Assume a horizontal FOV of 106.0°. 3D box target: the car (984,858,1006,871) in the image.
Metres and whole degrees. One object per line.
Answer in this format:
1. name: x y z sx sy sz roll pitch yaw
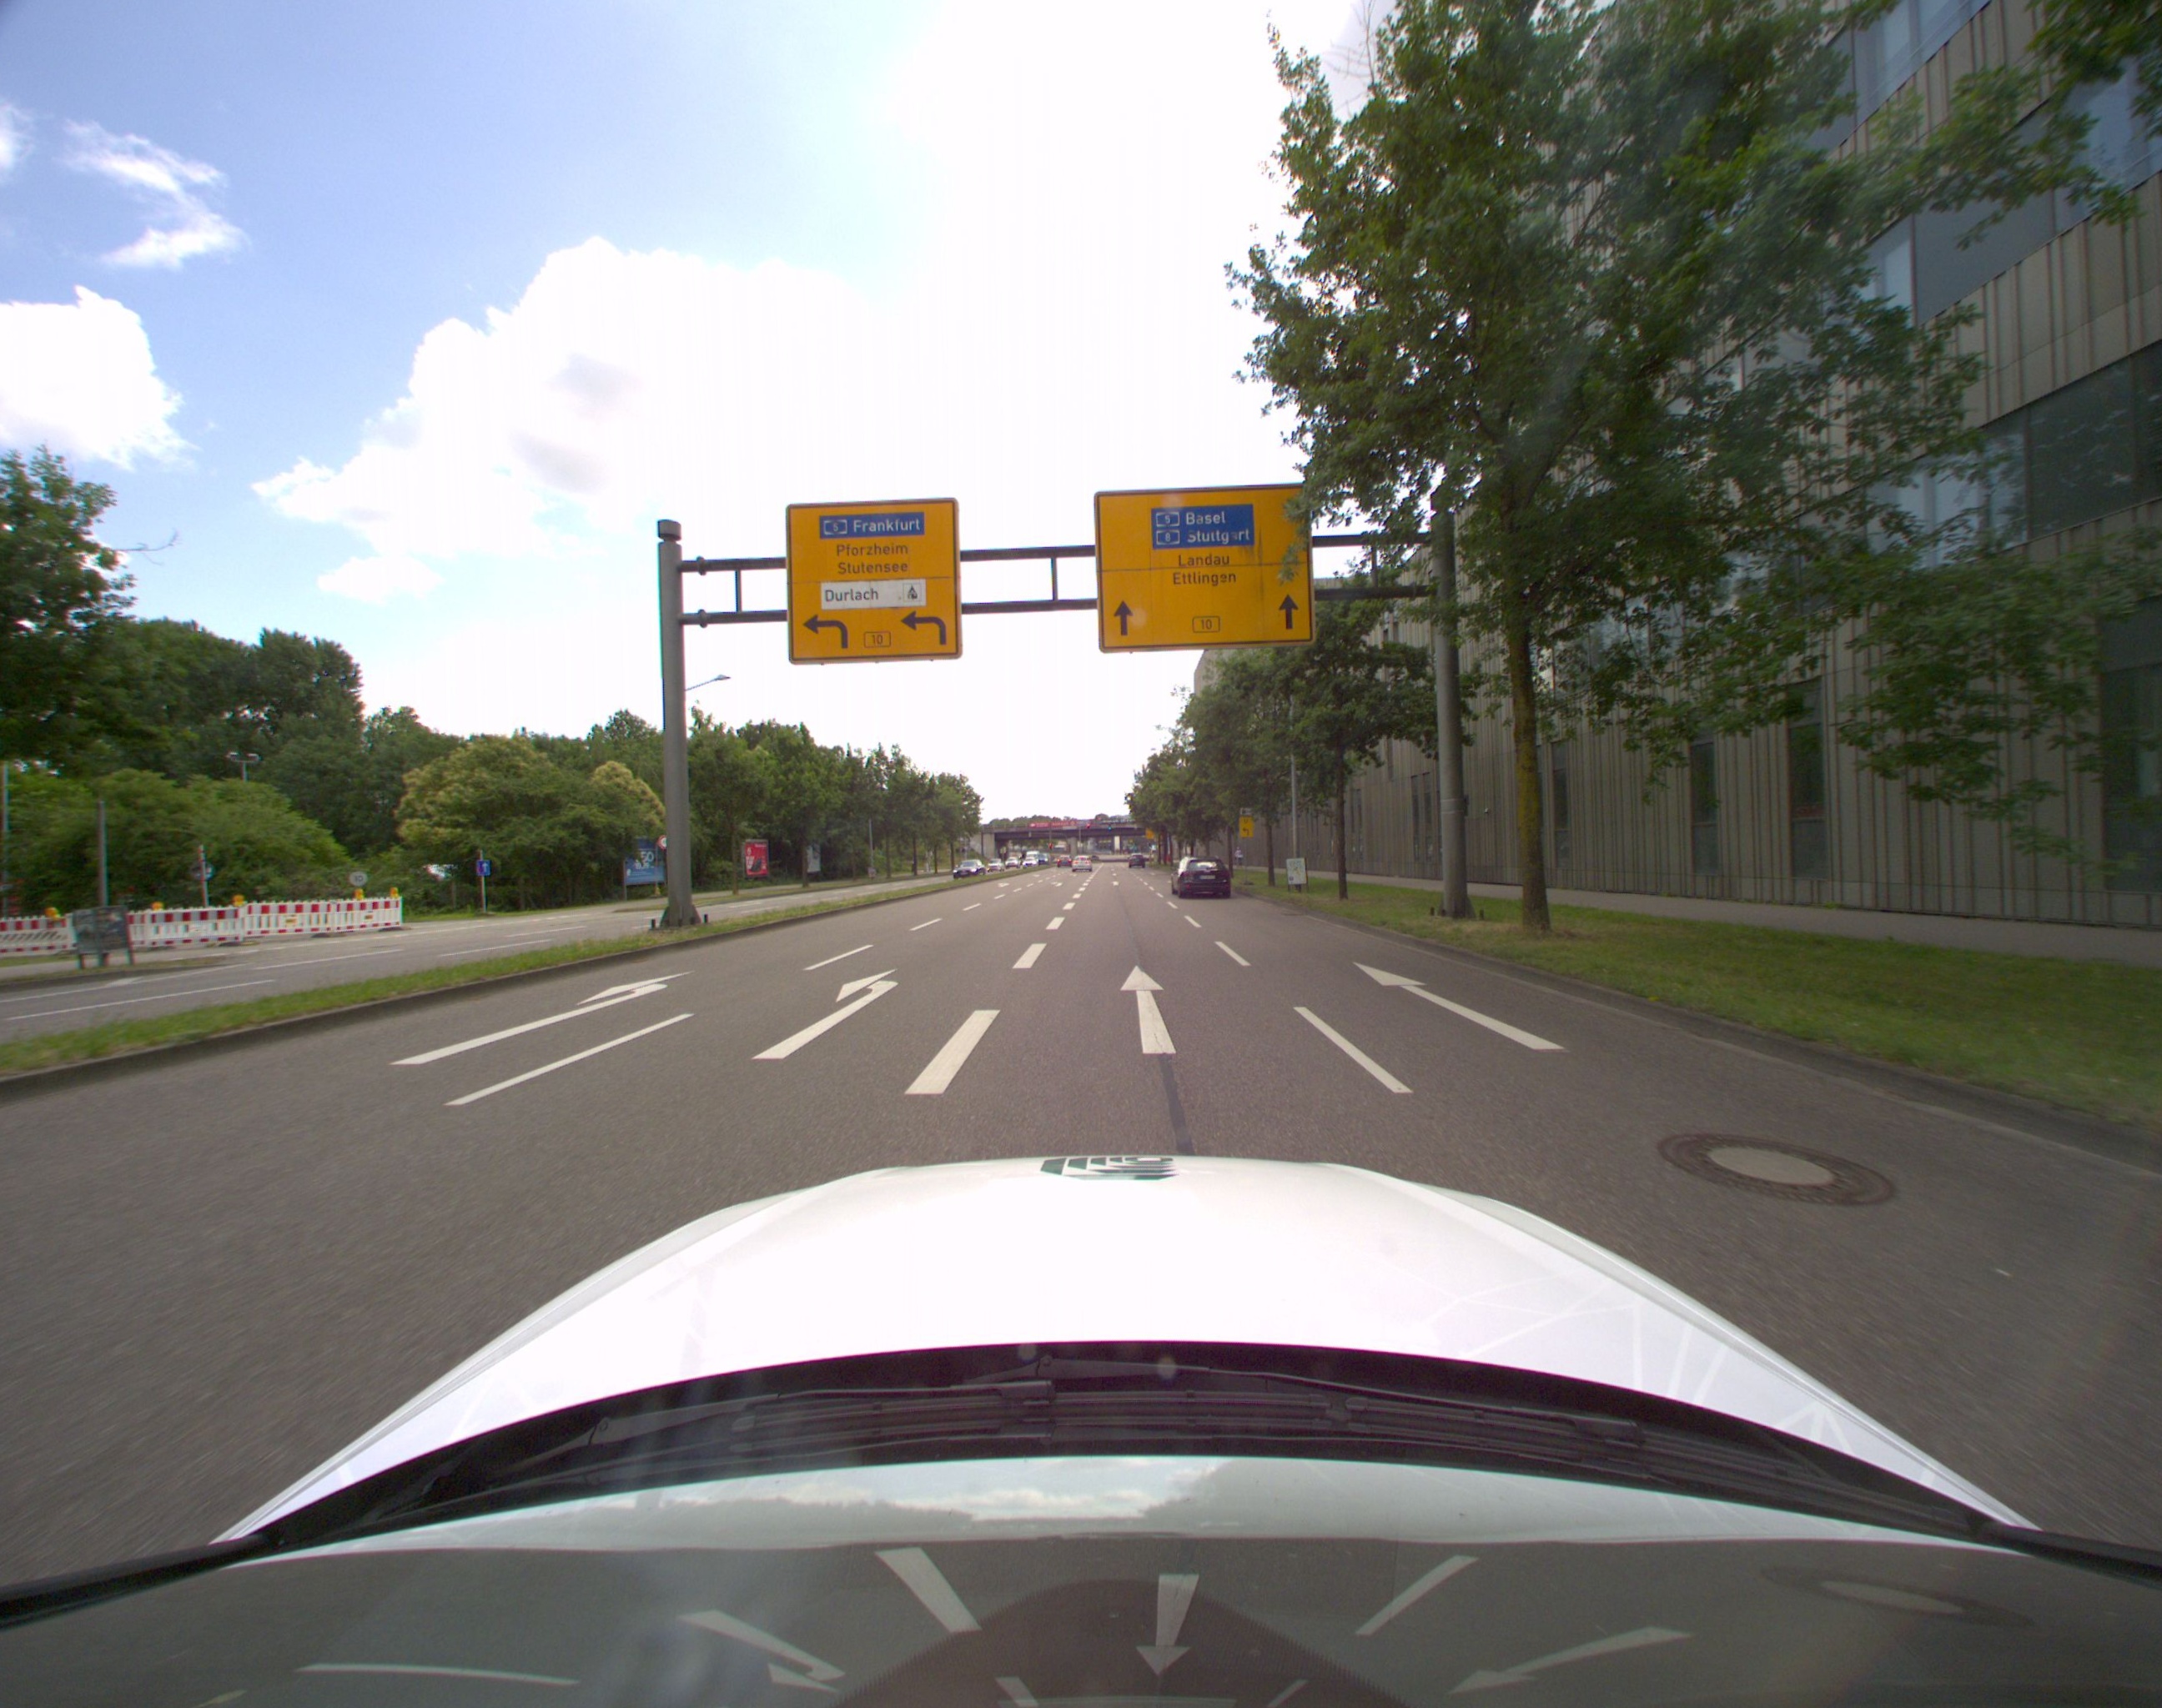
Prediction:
1. car: -10.265 1.216 97.301 1.907 1.442 4.416 -4 0 1

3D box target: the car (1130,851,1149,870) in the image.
1. car: 6.776 0.712 94.549 1.986 2.037 4.716 -2 0 2

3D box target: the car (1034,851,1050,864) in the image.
1. car: -6.244 0.552 131.250 2.183 1.963 5.194 -2 0 1

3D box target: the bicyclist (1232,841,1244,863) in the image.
1. bicyclist: 13.330 -0.166 69.051 0.713 1.769 0.988 -2 0 -2

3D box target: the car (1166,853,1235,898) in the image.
1. car: 4.207 0.713 29.376 1.986 1.390 4.578 -1 1 2

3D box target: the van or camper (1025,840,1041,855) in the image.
1. van or camper: -8.575 -1.183 145.978 2.343 2.539 7.065 -1 0 1

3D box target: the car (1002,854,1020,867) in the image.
1. car: -9.972 0.886 116.241 1.987 1.801 4.410 -2 0 1

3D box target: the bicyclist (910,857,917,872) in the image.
1. bicyclist: -19.675 1.238 95.543 0.656 1.818 0.725 -2 0 -3

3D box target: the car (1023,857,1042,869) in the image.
1. car: -6.633 1.233 111.119 1.986 1.431 5.027 -2 0 2

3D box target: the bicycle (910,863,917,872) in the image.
1. bicycle: -19.651 1.587 95.511 0.546 1.051 1.836 -2 0 -2

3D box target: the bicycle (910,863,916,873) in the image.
1. bicycle: -19.652 1.639 95.177 0.508 1.106 1.842 -1 0 -4

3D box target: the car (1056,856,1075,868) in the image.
1. car: -1.914 0.983 101.528 1.986 1.415 4.834 -1 0 2

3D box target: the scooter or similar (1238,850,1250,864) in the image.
1. scooter or similar: 14.855 0.287 74.210 0.701 1.246 2.481 -3 0 2

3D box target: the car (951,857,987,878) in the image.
1. car: -8.633 1.018 63.276 1.952 1.517 4.911 -2 0 2

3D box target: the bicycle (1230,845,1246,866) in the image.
1. bicycle: 13.342 0.127 69.211 0.717 1.774 2.532 -2 0 -2

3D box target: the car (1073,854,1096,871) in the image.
1. car: 0.343 0.762 75.562 1.908 1.415 4.297 1 0 2
